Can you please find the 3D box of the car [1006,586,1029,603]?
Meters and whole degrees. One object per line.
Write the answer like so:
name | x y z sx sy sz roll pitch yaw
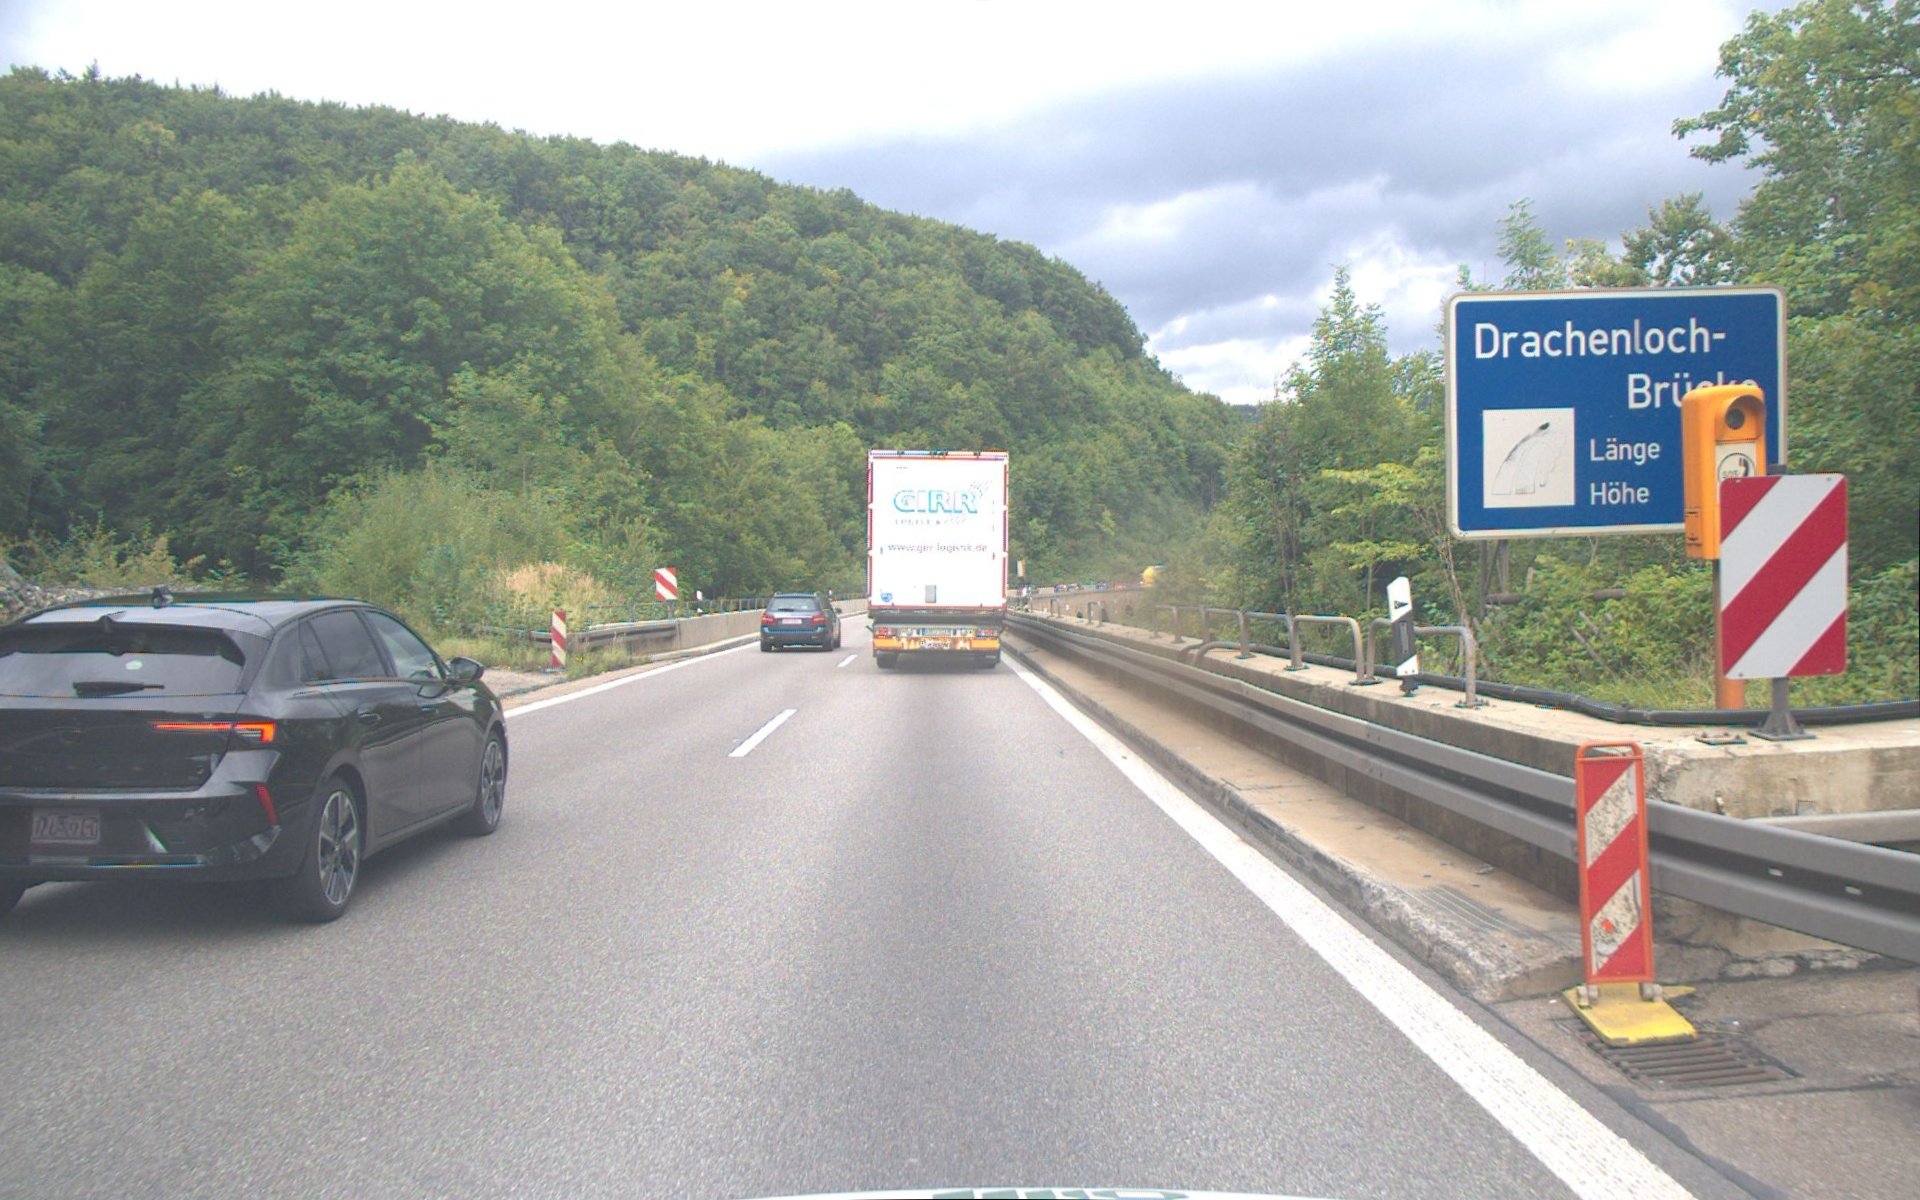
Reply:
car | 6.108 -0.536 174.155 1.951 1.713 4.003 -1 -1 9

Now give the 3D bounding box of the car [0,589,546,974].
car | -3.602 0.693 8.695 1.737 1.486 4.581 0 0 -1

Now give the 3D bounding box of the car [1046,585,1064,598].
car | 12.421 -1.087 215.438 1.951 1.713 4.003 -1 -1 9

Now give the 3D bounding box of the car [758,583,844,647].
car | -4.059 0.372 42.846 1.845 1.536 4.418 -1 0 -1

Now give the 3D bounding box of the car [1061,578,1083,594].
car | 13.771 -1.692 203.307 1.951 1.825 4.003 -1 -1 14

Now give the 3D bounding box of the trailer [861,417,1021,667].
trailer | -0.399 -1.013 35.407 2.756 4.378 12.242 -1 0 -1
